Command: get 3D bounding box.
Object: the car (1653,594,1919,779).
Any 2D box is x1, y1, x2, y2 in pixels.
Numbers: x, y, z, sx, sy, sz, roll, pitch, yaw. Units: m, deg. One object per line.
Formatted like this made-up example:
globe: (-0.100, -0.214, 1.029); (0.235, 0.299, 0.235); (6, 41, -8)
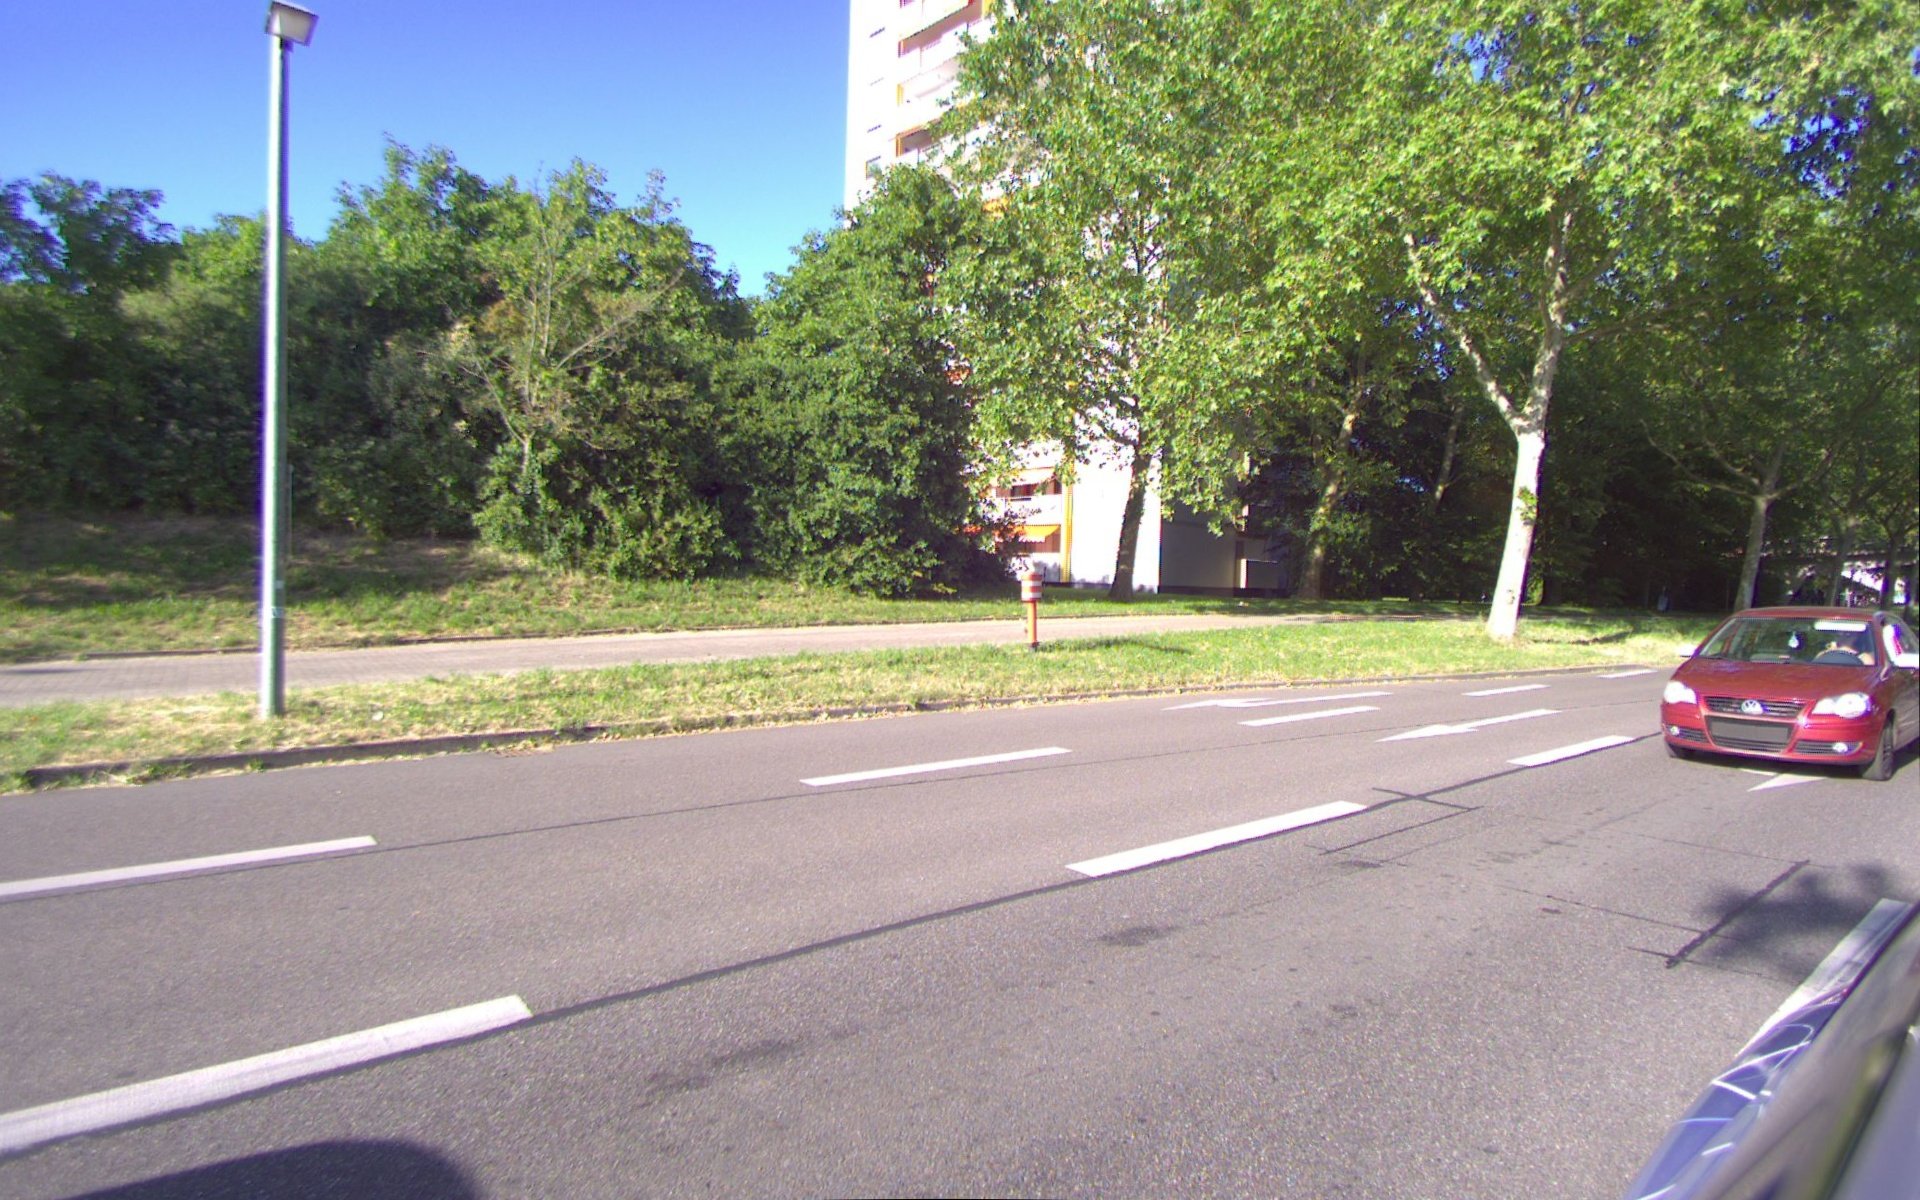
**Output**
car: (8.361, 0.680, 9.899); (3.693, 1.456, 1.646); (-1, 1, -39)
